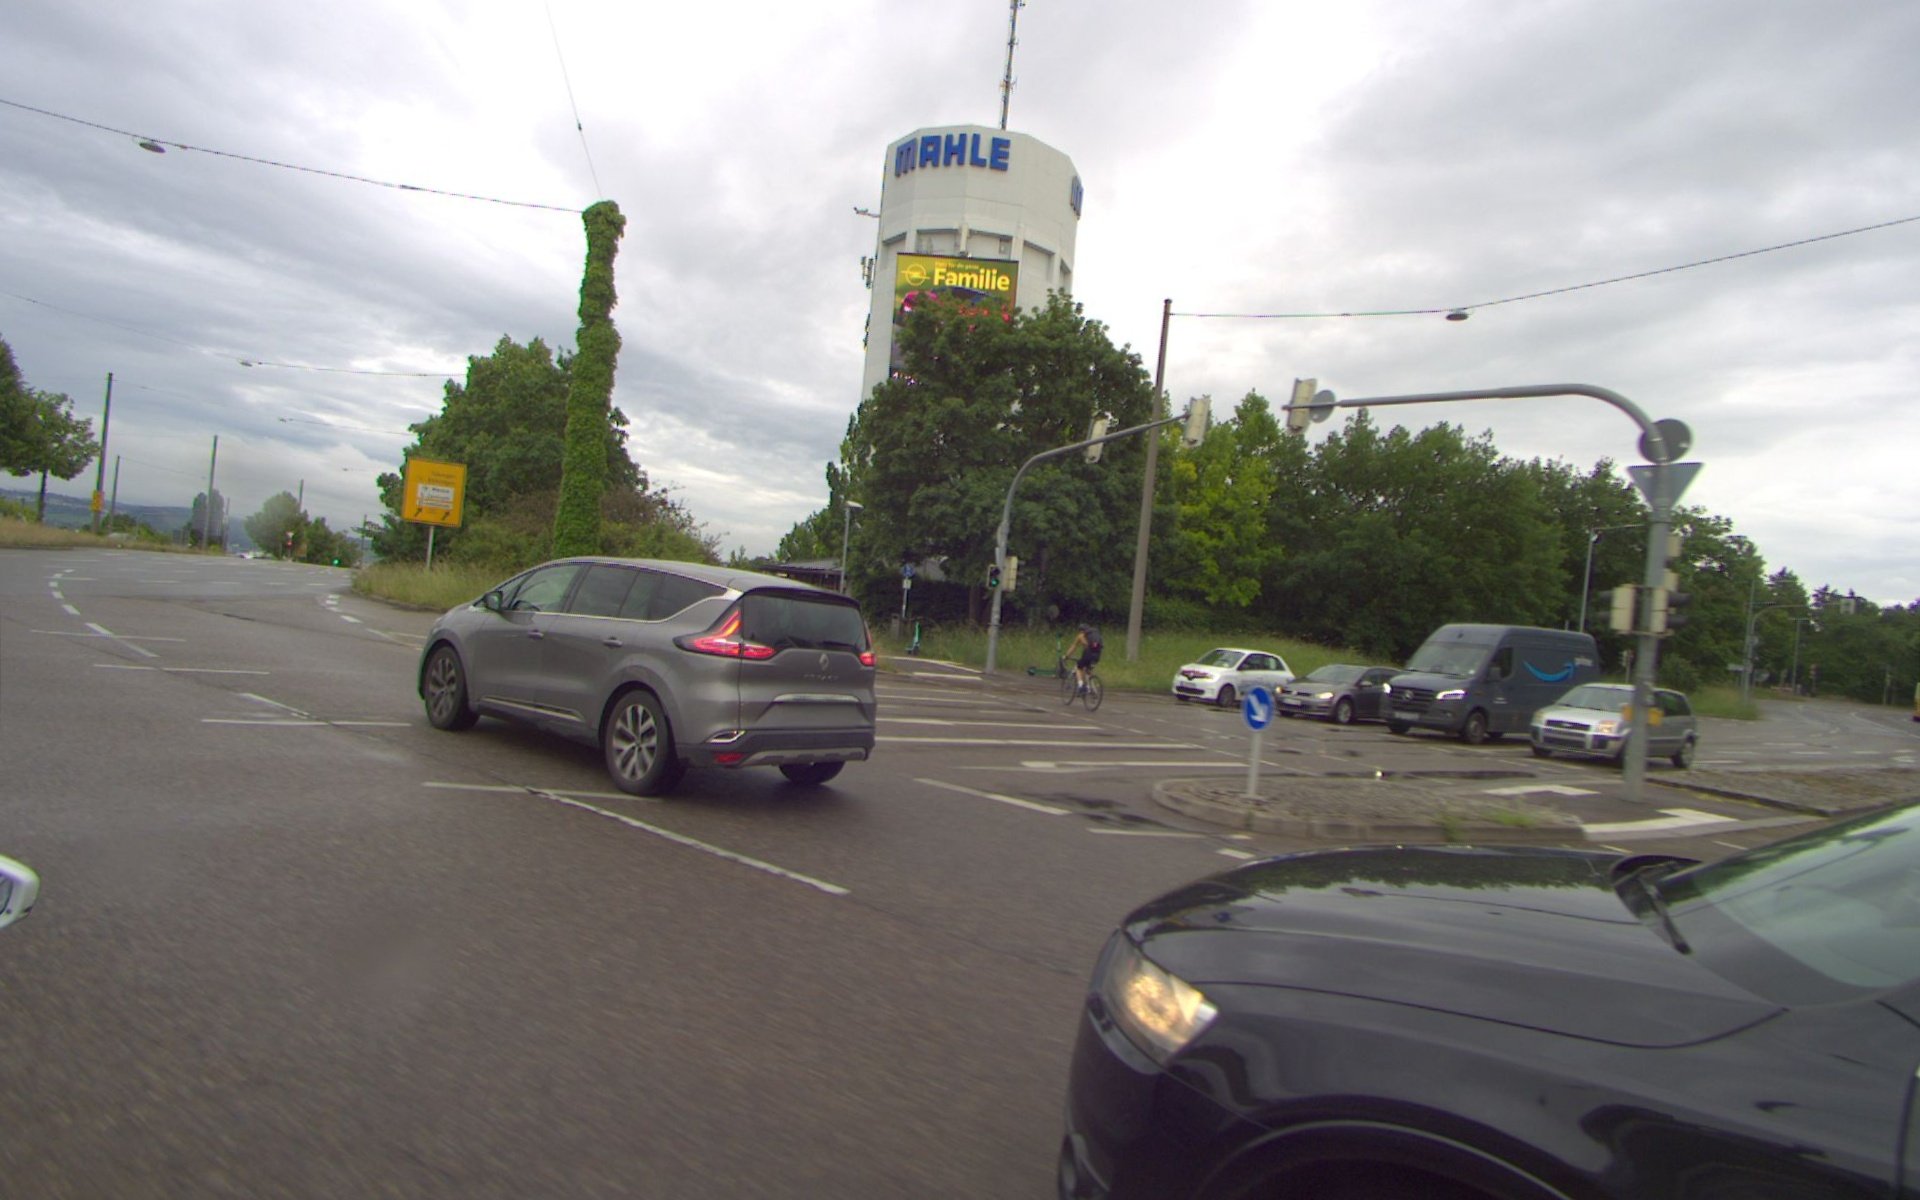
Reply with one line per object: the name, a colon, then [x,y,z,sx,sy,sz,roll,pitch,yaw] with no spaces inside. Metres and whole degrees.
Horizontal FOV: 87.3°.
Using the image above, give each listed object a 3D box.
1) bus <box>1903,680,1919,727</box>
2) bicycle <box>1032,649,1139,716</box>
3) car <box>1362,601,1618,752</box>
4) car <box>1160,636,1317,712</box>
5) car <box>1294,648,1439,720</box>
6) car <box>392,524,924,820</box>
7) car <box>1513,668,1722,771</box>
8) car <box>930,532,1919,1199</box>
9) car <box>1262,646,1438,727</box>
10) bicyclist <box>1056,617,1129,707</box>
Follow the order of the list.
bus: [77.225,8.371,80.074,2.304,3.607,6.468,7,0,39]
bicycle: [2.413,1.591,19.714,0.802,1.035,2.312,5,0,-29]
car: [11.949,1.765,22.521,5.964,2.773,2.066,7,-2,-30]
car: [7.579,2.022,27.240,4.107,1.583,1.853,7,-1,-36]
car: [12.363,2.566,30.511,4.525,1.694,1.853,7,-1,-36]
car: [-2.699,0.428,8.429,4.496,1.695,1.865,6,-1,37]
car: [12.785,2.339,19.514,4.022,1.587,1.855,7,-2,-33]
car: [2.176,0.941,1.572,4.047,1.615,1.886,6,-1,34]
car: [9.624,2.148,24.714,4.338,1.538,1.715,7,-1,-33]
bicyclist: [2.577,1.195,19.596,0.802,1.602,1.015,7,-1,-29]
